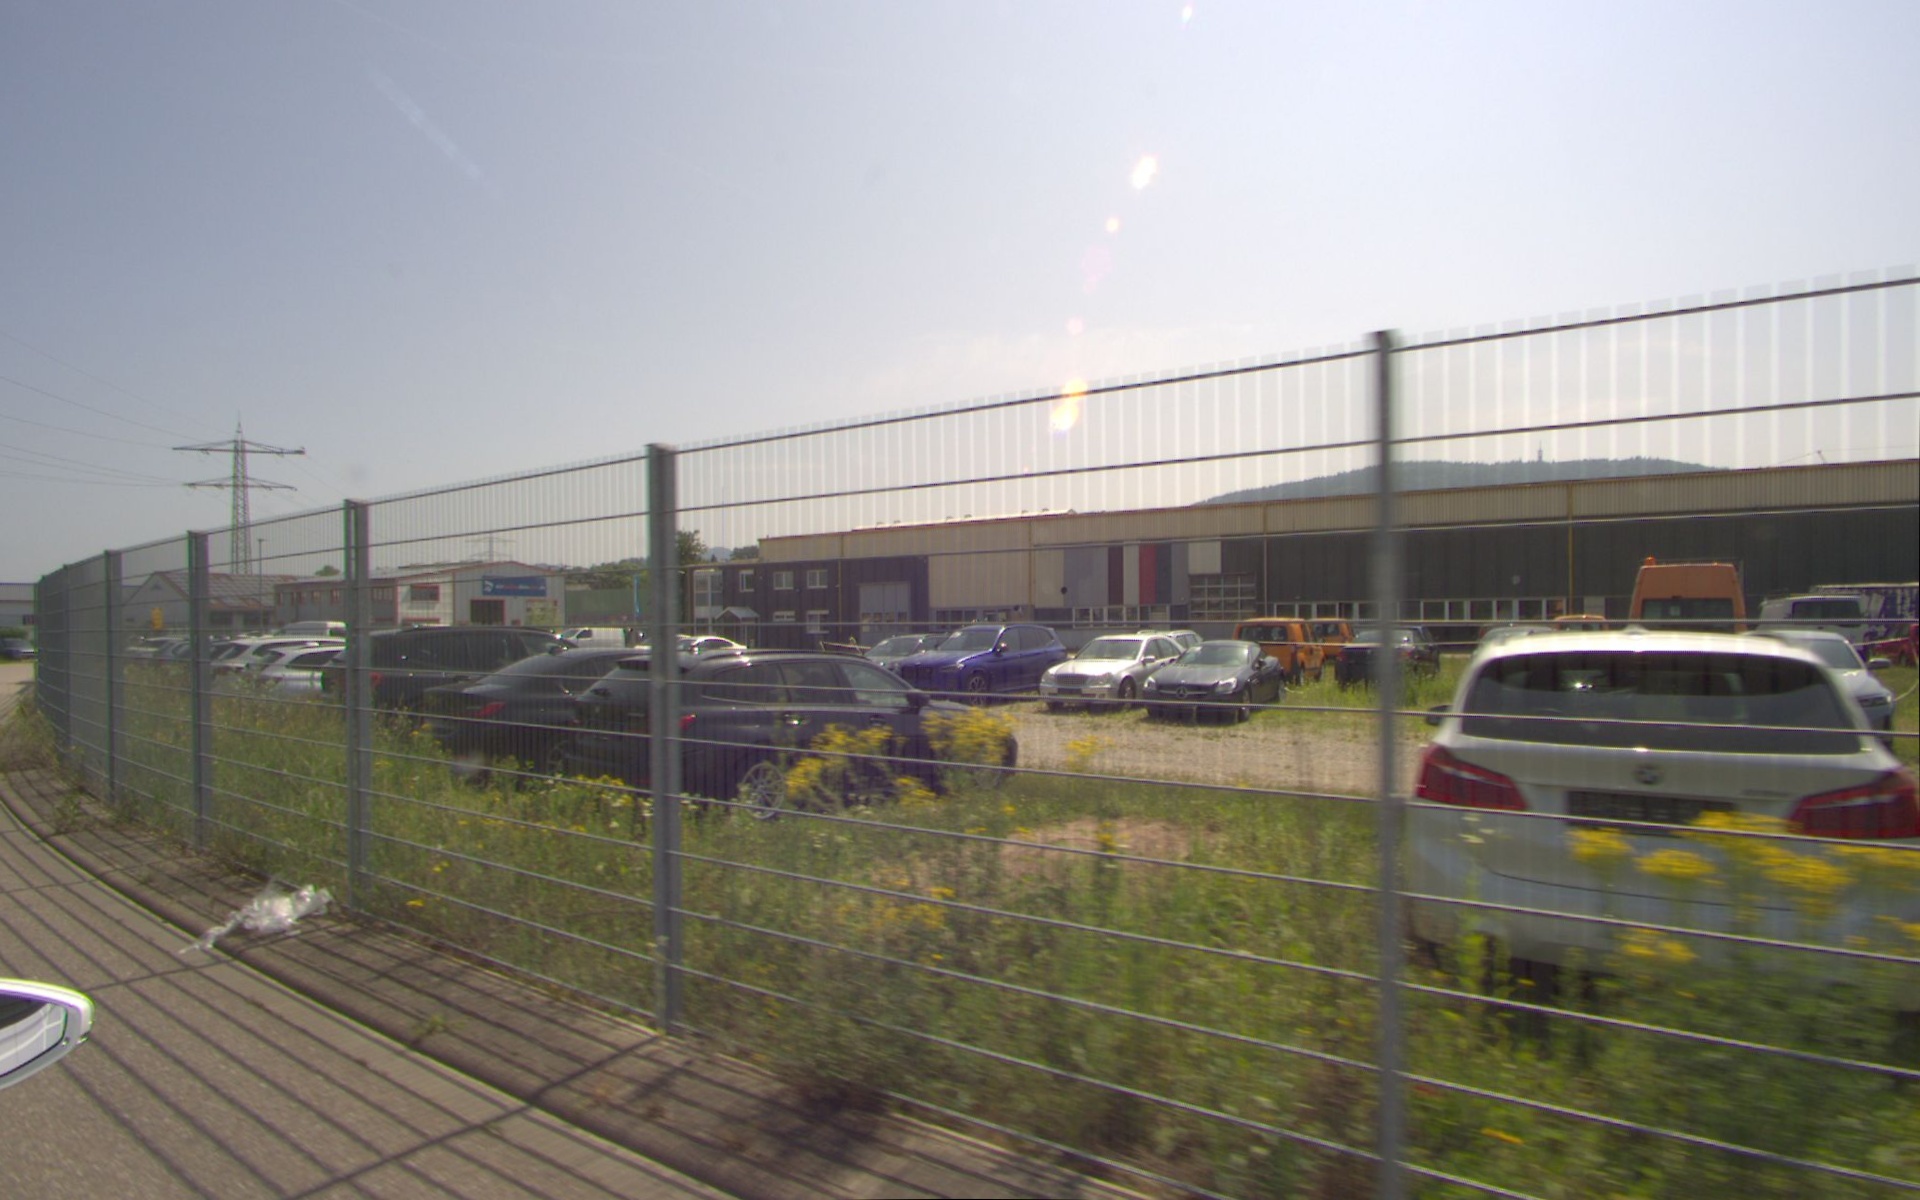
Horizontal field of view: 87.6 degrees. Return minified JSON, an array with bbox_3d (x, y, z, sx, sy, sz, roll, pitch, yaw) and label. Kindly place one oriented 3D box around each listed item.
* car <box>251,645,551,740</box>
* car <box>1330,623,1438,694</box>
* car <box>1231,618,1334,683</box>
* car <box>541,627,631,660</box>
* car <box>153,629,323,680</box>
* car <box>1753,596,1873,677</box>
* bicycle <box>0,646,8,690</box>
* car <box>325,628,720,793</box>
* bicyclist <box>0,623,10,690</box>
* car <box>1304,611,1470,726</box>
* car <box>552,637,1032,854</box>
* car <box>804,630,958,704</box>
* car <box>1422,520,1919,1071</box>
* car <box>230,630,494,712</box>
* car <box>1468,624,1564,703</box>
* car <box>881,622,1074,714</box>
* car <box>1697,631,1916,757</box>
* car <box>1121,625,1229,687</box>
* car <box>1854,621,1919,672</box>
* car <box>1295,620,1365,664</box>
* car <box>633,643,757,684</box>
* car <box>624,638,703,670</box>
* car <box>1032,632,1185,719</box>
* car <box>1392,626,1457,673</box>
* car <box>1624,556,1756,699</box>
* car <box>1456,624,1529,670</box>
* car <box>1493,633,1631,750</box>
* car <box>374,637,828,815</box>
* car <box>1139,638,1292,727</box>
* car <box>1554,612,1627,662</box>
[{"bbox_3d":[-9.534,1.559,17.302,4.185,1.423,1.821,5,-5,-44],"label":"car"},{"bbox_3d":[10.099,1.316,23.689,1.731,1.481,3.808,0,0,33],"label":"car"},{"bbox_3d":[8.217,1.205,25.316,1.566,1.481,3.808,0,0,33],"label":"car"},{"bbox_3d":[-22.798,2.623,61.196,1.832,1.923,5.048,-1,-2,34],"label":"car"},{"bbox_3d":[-22.918,1.775,31.882,4.141,1.492,1.622,5,-5,-45],"label":"car"},{"bbox_3d":[25.139,1.018,29.675,1.944,2.200,4.369,0,0,31],"label":"car"},{"bbox_3d":[-24.310,1.698,24.903,0.679,1.064,1.887,2,-2,-37],"label":"bicycle"},{"bbox_3d":[-5.355,1.222,12.546,4.244,1.659,1.751,0,0,-38],"label":"car"},{"bbox_3d":[-24.300,1.399,24.891,0.835,1.639,1.031,2,-1,-37],"label":"bicyclist"},{"bbox_3d":[7.705,1.101,17.855,1.973,1.740,3.975,0,0,35],"label":"car"},{"bbox_3d":[-1.281,1.100,9.245,1.743,1.396,4.322,0,0,39],"label":"car"},{"bbox_3d":[-1.734,1.468,23.078,1.589,1.456,3.752,0,0,33],"label":"car"},{"bbox_3d":[3.669,0.617,5.080,1.700,1.692,4.109,0,0,35],"label":"car"},{"bbox_3d":[-11.518,1.392,19.410,4.176,1.423,1.825,4,-4,-38],"label":"car"},{"bbox_3d":[12.050,1.295,21.593,1.566,1.481,3.808,0,0,33],"label":"car"},{"bbox_3d":[0.490,1.344,21.375,1.854,1.670,4.445,0,0,37],"label":"car"},{"bbox_3d":[11.820,1.189,14.311,1.796,1.369,4.733,0,0,33],"label":"car"},{"bbox_3d":[5.793,1.427,26.631,1.566,1.481,3.808,0,0,33],"label":"car"},{"bbox_3d":[27.392,1.295,28.612,1.944,1.340,4.369,0,0,31],"label":"car"},{"bbox_3d":[13.975,1.539,37.688,1.727,1.505,4.369,0,0,31],"label":"car"},{"bbox_3d":[-9.686,2.300,36.917,1.604,1.368,4.498,-1,-2,34],"label":"car"},{"bbox_3d":[-14.278,2.563,48.405,1.513,1.454,3.651,-1,-2,30],"label":"car"},{"bbox_3d":[3.017,1.397,19.724,1.589,1.456,3.752,0,0,33],"label":"car"},{"bbox_3d":[16.848,1.725,36.201,1.727,1.505,4.369,0,0,31],"label":"car"},{"bbox_3d":[14.979,0.522,20.771,1.953,2.618,4.720,0,0,33],"label":"car"},{"bbox_3d":[18.633,1.590,34.941,1.971,1.483,3.980,-1,-1,32],"label":"car"},{"bbox_3d":[9.513,1.303,15.732,1.639,1.451,4.550,0,0,33],"label":"car"},{"bbox_3d":[-3.630,1.160,10.699,1.747,1.396,4.254,0,0,45],"label":"car"},{"bbox_3d":[4.744,1.410,18.239,1.589,1.318,3.752,0,0,33],"label":"car"},{"bbox_3d":[20.971,1.177,33.440,1.944,1.505,4.369,0,0,31],"label":"car"}]
